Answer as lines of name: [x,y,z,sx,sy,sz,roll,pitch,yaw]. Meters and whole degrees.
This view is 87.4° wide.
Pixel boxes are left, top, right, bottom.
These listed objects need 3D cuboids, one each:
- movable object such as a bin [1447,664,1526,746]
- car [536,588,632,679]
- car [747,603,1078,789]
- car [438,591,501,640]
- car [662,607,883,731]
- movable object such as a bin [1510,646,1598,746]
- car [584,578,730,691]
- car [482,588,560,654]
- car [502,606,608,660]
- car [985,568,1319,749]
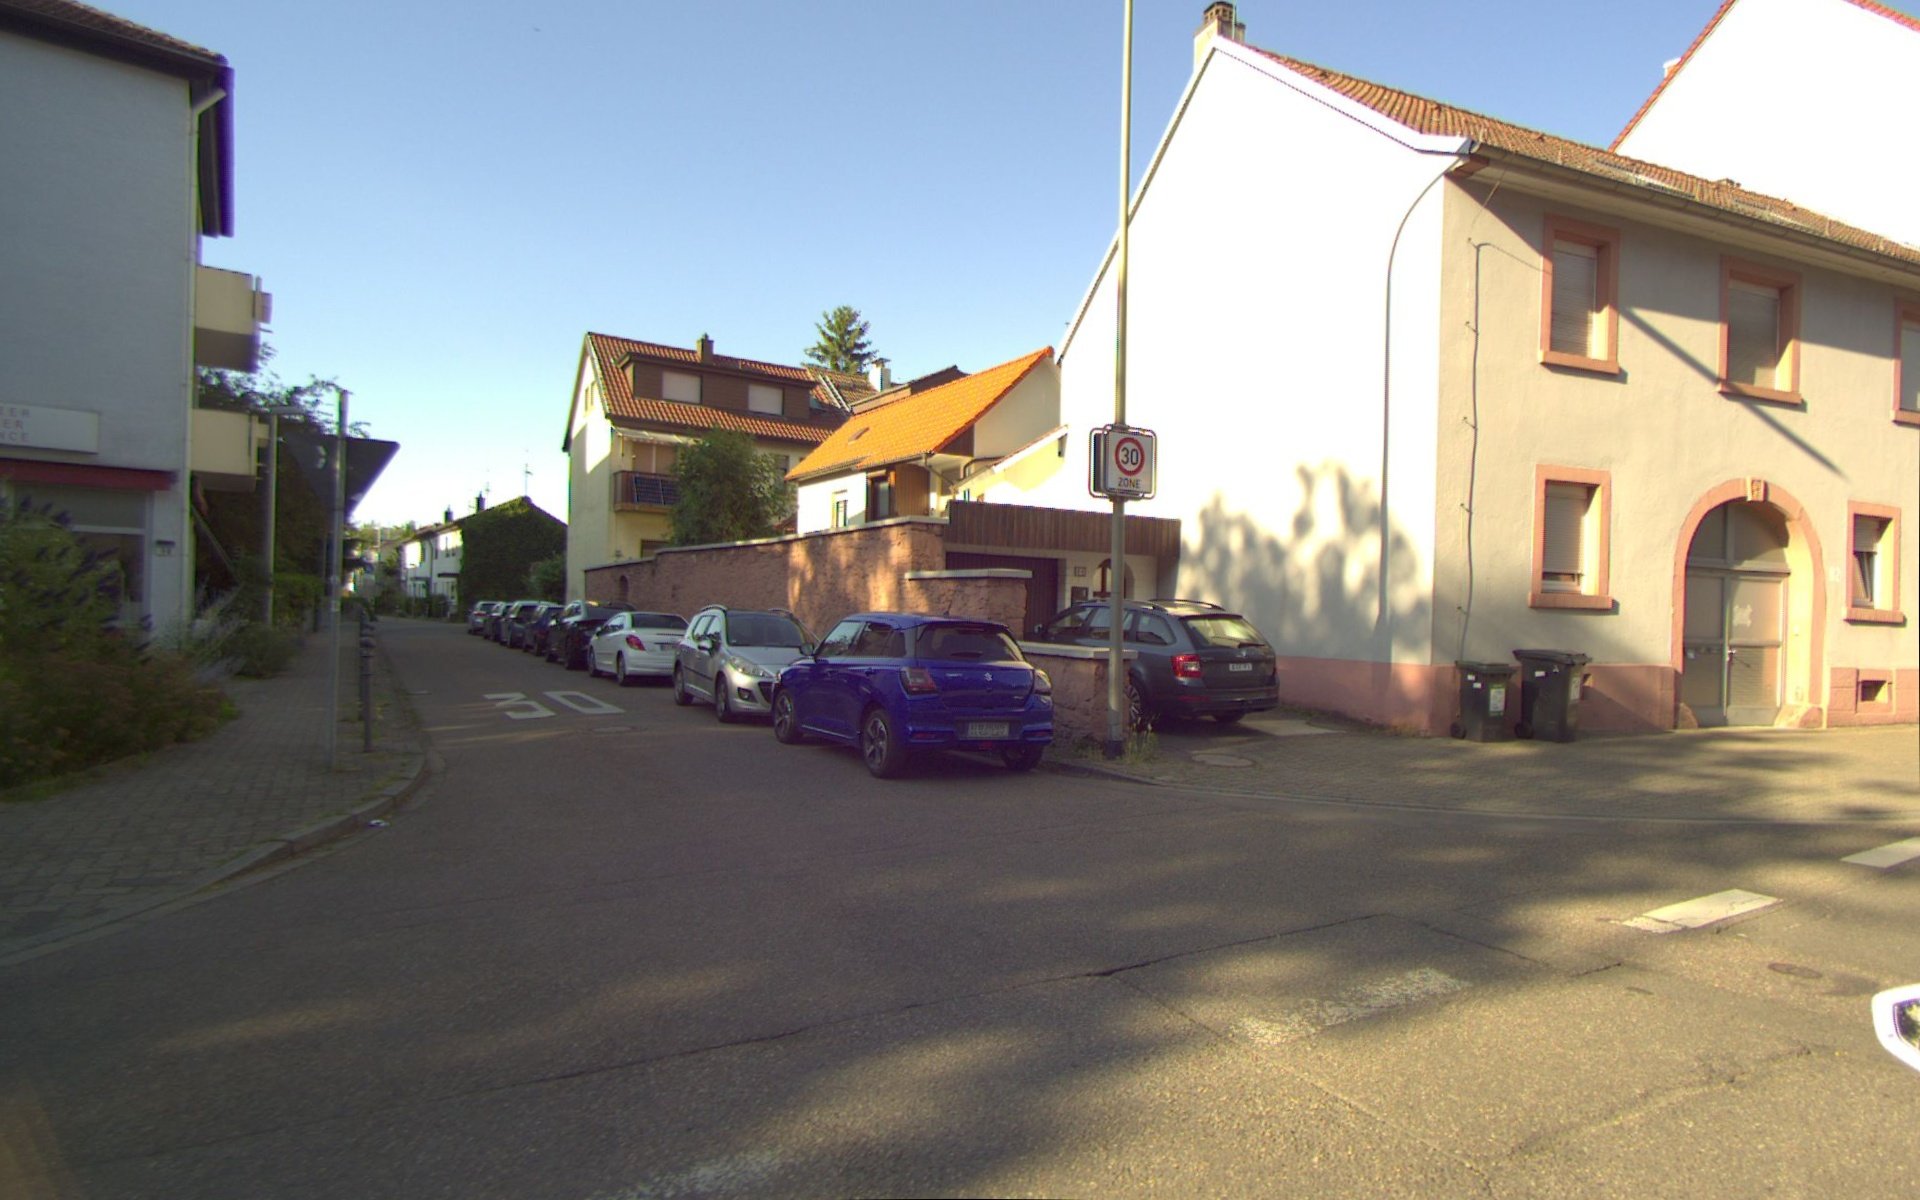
movable object such as a bin: [6.153,1.209,11.743,0.599,0.884,0.595,2,-1,-32]
car: [-8.788,0.732,23.346,1.372,1.910,3.074,3,0,-33]
car: [-0.682,0.826,10.473,1.976,1.550,3.750,2,-1,-29]
car: [-21.301,0.662,43.569,1.824,2.040,3.637,2,-1,-36]
car: [-2.855,0.884,14.556,1.976,1.520,3.969,1,-1,-29]
movable object such as a bin: [7.082,1.126,11.986,0.742,1.108,0.596,2,0,-30]
car: [-6.132,0.650,20.083,1.904,2.040,3.641,1,-1,-32]
car: [-14.358,0.682,32.770,1.549,2.040,3.732,2,-1,-36]
car: [-11.865,0.932,29.310,1.981,1.428,3.959,2,-1,-36]
car: [2.255,0.553,13.095,1.963,1.819,4.343,-1,4,-29]
